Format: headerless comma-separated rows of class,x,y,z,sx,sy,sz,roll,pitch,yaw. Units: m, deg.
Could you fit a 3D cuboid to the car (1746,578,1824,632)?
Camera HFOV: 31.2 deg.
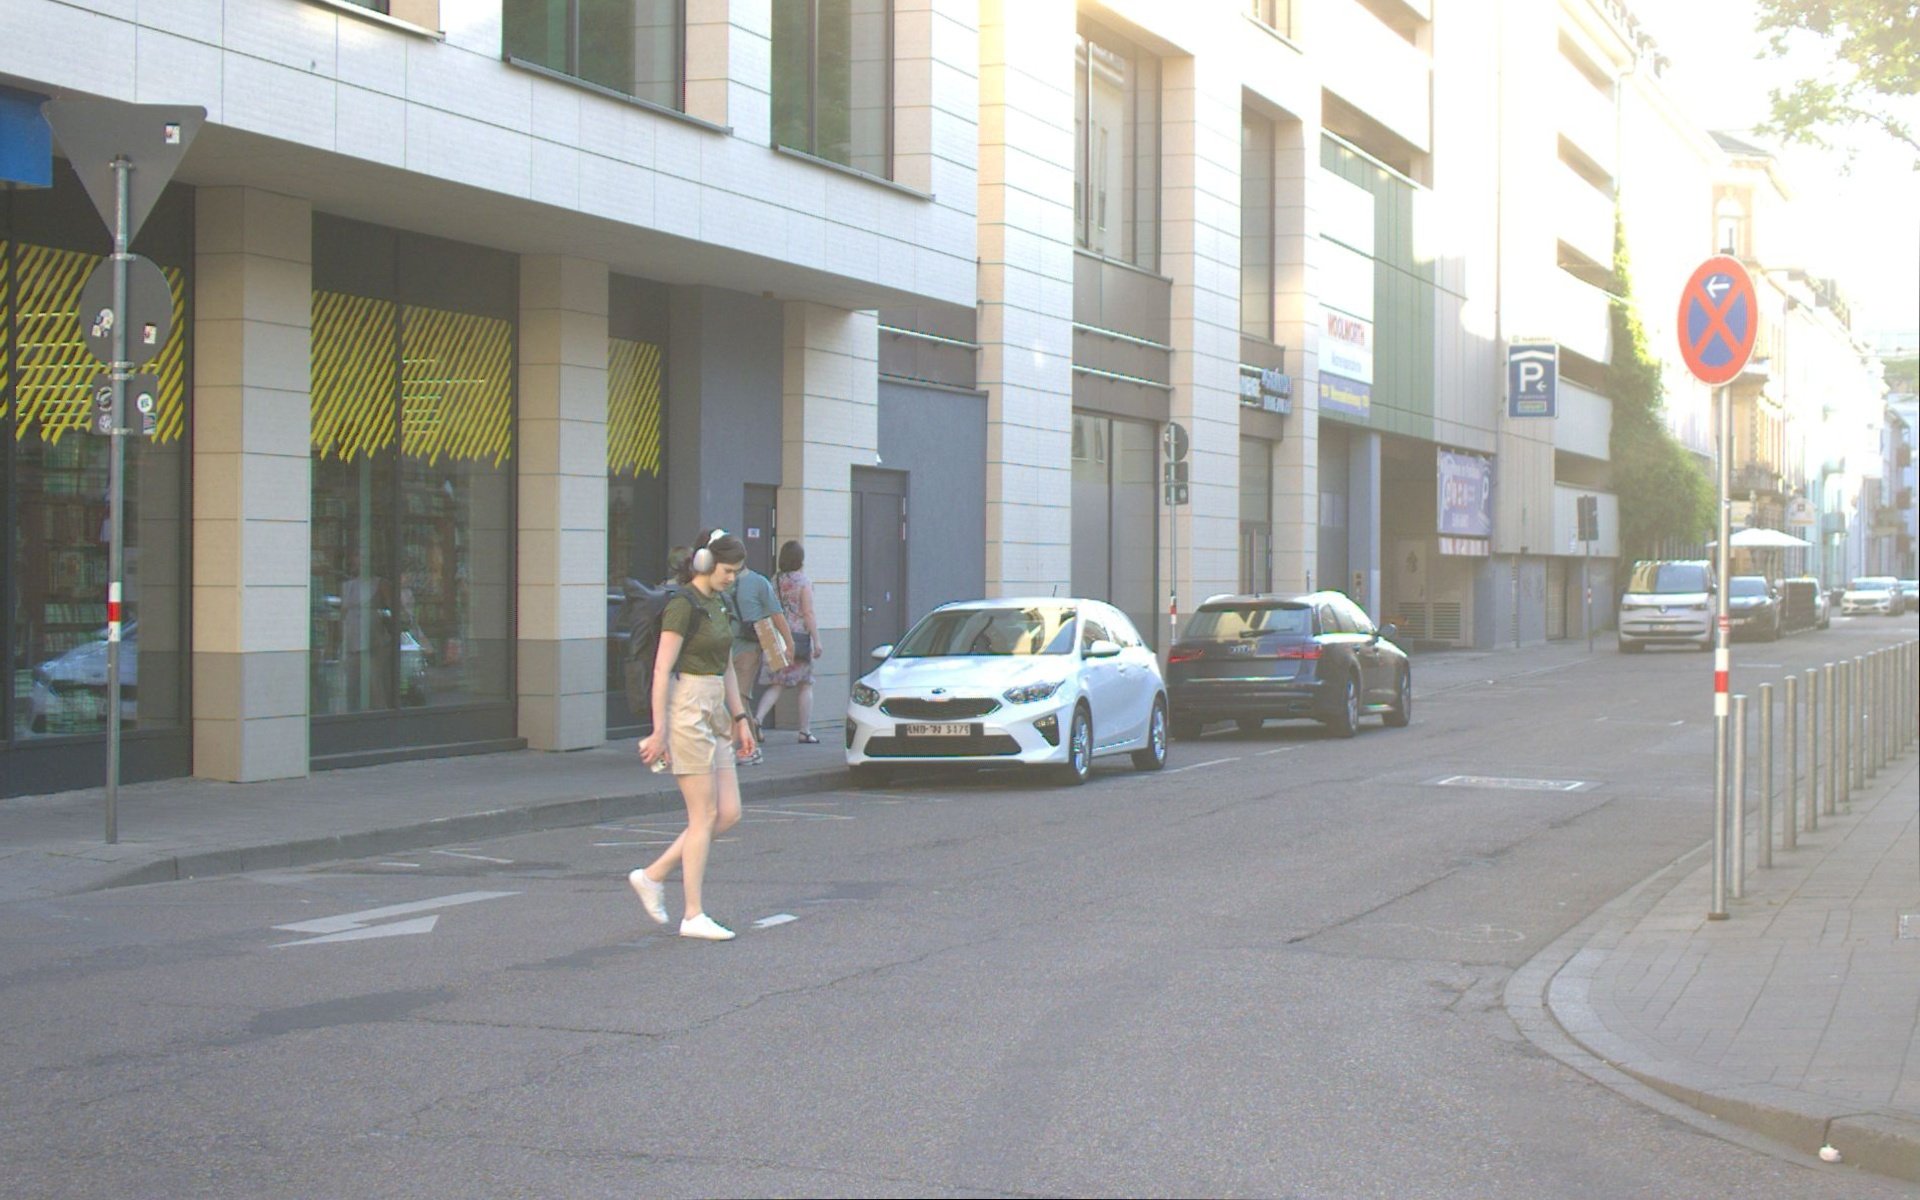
car,23.066,0.123,96.042,1.885,1.448,3.997,1,1,16

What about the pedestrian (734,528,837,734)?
pedestrian,-1.496,0.257,29.465,0.672,1.738,0.647,1,0,18

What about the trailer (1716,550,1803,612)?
trailer,21.316,-0.494,91.564,1.995,1.552,3.997,1,0,17

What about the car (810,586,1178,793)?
car,0.362,0.636,27.038,1.779,1.448,4.227,1,1,16

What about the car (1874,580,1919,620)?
car,41.014,-0.005,149.812,1.995,1.678,3.996,1,0,18

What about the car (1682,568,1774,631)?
car,18.549,-0.034,82.904,1.885,1.448,3.997,1,1,16

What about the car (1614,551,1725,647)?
car,14.927,-0.041,72.182,1.885,1.905,4.744,1,1,16

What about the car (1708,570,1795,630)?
car,20.136,-0.014,87.374,1.885,1.448,3.997,1,1,16

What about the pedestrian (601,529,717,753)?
pedestrian,-2.292,0.301,26.207,0.672,1.669,0.647,1,1,16

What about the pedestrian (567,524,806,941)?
pedestrian,-1.176,0.540,14.705,0.635,1.717,0.845,1,1,-37

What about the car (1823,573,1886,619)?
car,33.516,-0.143,128.759,1.995,1.678,3.996,1,0,18

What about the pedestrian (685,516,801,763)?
pedestrian,-1.637,0.292,26.010,0.672,1.830,0.647,1,1,16

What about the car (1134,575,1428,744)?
car,3.398,0.553,35.569,1.885,1.592,4.684,1,1,20
